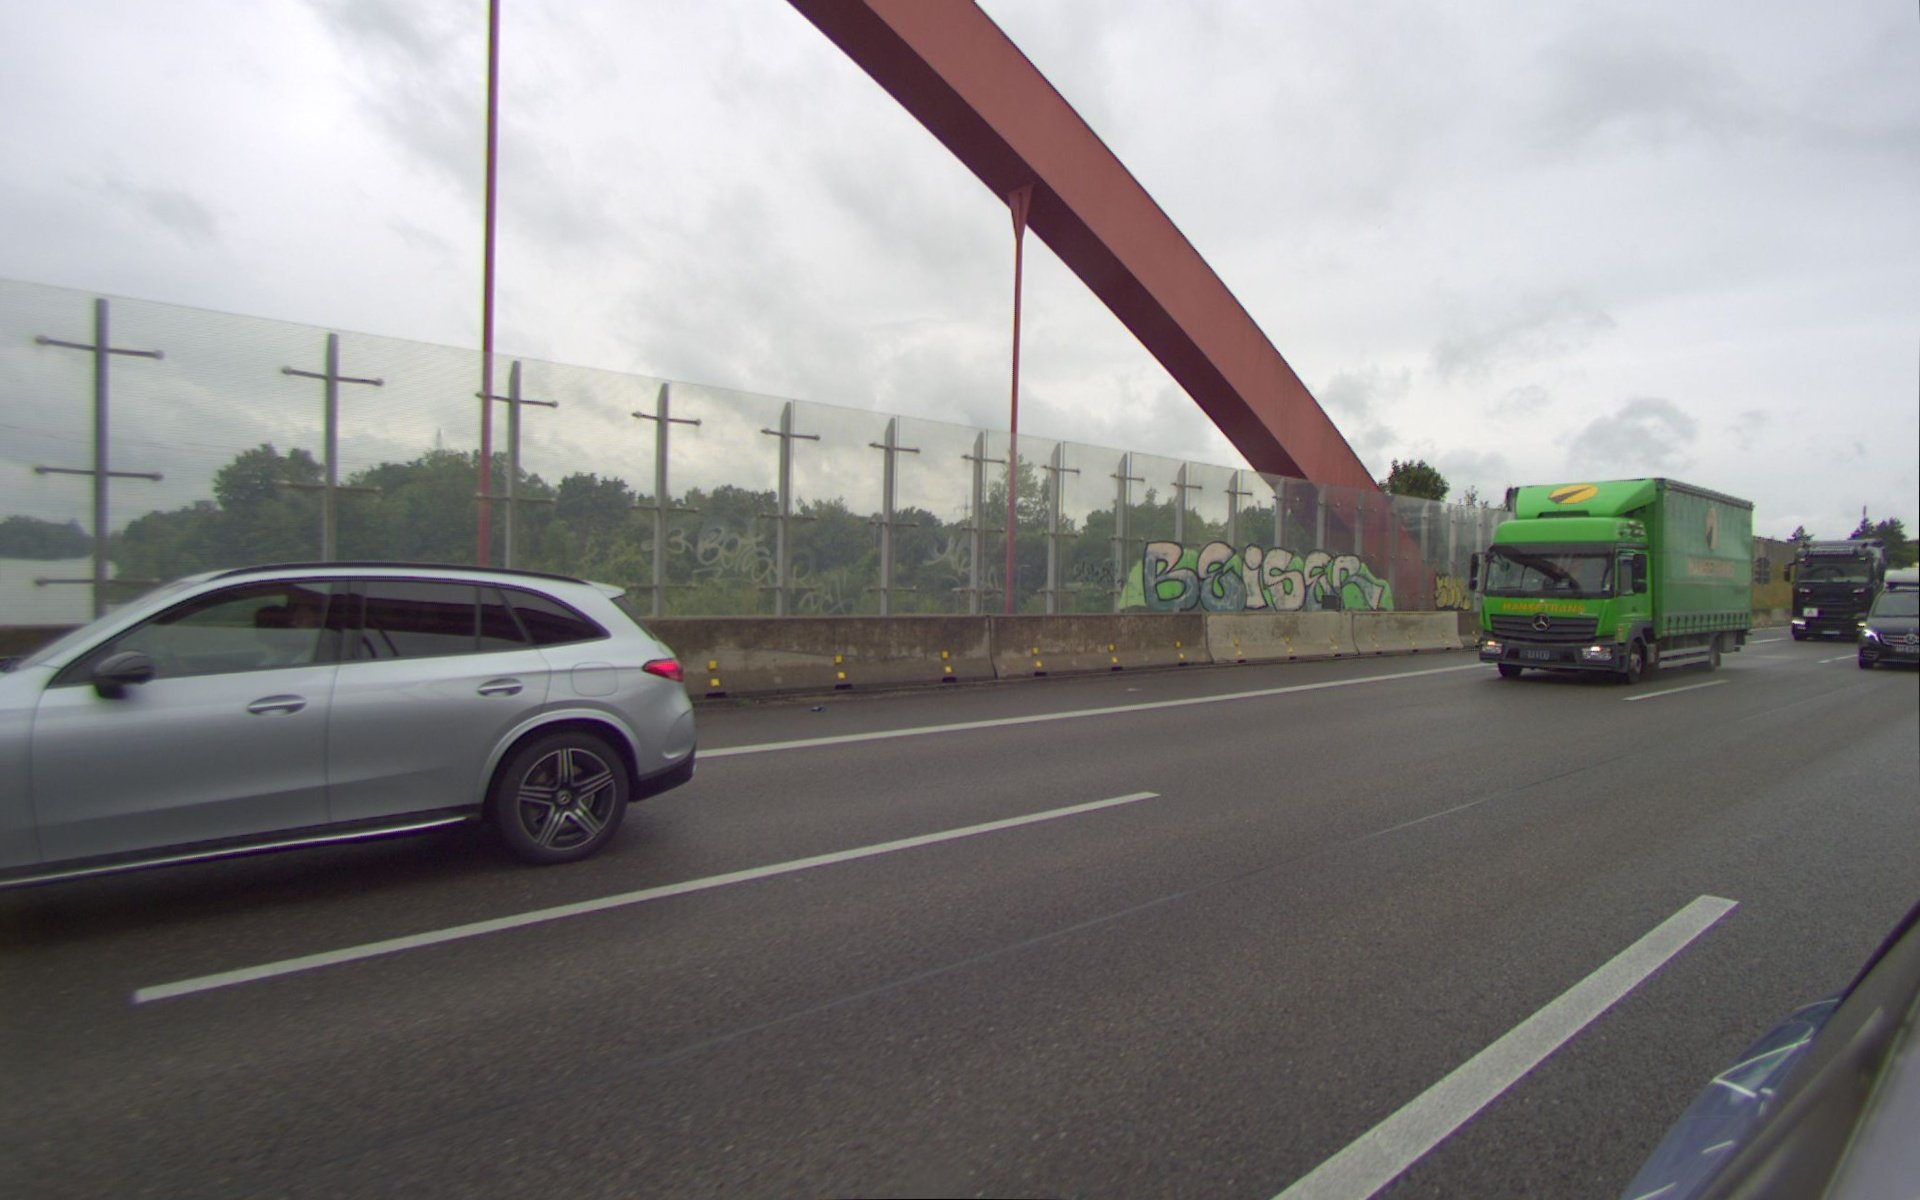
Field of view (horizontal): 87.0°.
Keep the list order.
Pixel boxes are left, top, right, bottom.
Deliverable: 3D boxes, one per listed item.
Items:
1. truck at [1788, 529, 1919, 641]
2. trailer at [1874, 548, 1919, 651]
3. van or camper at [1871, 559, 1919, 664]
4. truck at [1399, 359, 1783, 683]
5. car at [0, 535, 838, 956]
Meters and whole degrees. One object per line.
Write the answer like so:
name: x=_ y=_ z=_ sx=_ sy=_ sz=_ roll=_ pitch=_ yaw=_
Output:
truck: x=36.783 y=-0.629 z=41.402 sx=12.500 sy=3.999 sz=2.816 roll=-1 pitch=2 yaw=-43
trailer: x=28.070 y=0.002 z=28.393 sx=7.380 sy=2.675 sz=2.726 roll=0 pitch=1 yaw=-41
van or camper: x=23.245 y=0.239 z=24.039 sx=5.583 sy=2.298 sz=1.893 roll=0 pitch=0 yaw=-43
truck: x=13.984 y=-1.357 z=21.798 sx=11.024 sy=5.332 sz=4.004 roll=0 pitch=0 yaw=-41
car: x=-3.400 y=0.560 z=5.606 sx=5.237 sy=1.640 sz=1.996 roll=-1 pitch=0 yaw=-42
